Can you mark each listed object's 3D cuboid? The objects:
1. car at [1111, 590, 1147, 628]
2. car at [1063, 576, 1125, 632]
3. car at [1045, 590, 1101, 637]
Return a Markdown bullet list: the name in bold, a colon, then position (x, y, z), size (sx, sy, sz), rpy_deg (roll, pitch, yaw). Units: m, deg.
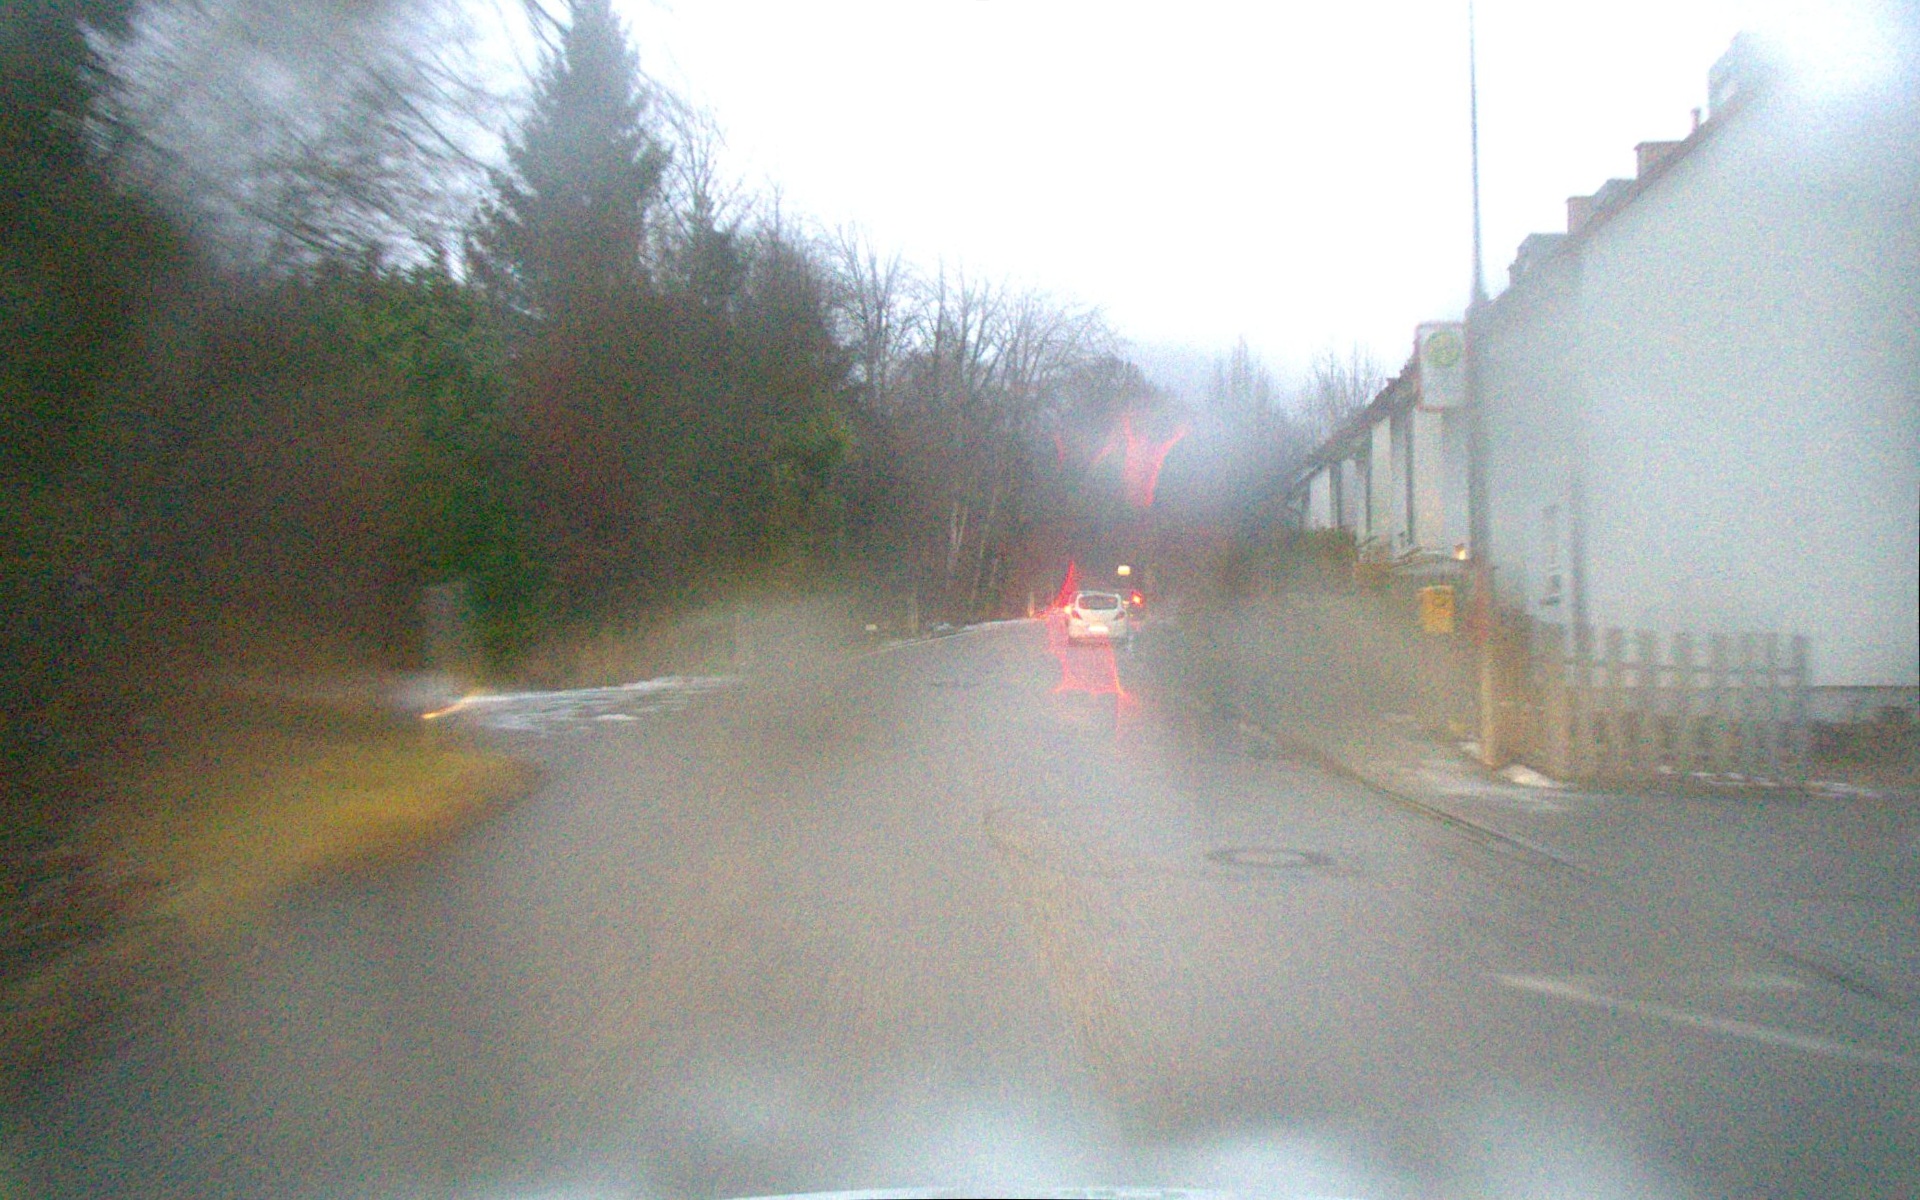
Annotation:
- **car**: position (8.368, 0.412, 81.627), size (1.654, 1.805, 3.864), rpy_deg (-1, 1, 7)
- **car**: position (3.859, 0.111, 47.505), size (1.668, 1.532, 4.027), rpy_deg (1, 0, 5)
- **car**: position (4.601, 0.511, 67.067), size (1.891, 1.812, 4.004), rpy_deg (-1, 1, 9)
